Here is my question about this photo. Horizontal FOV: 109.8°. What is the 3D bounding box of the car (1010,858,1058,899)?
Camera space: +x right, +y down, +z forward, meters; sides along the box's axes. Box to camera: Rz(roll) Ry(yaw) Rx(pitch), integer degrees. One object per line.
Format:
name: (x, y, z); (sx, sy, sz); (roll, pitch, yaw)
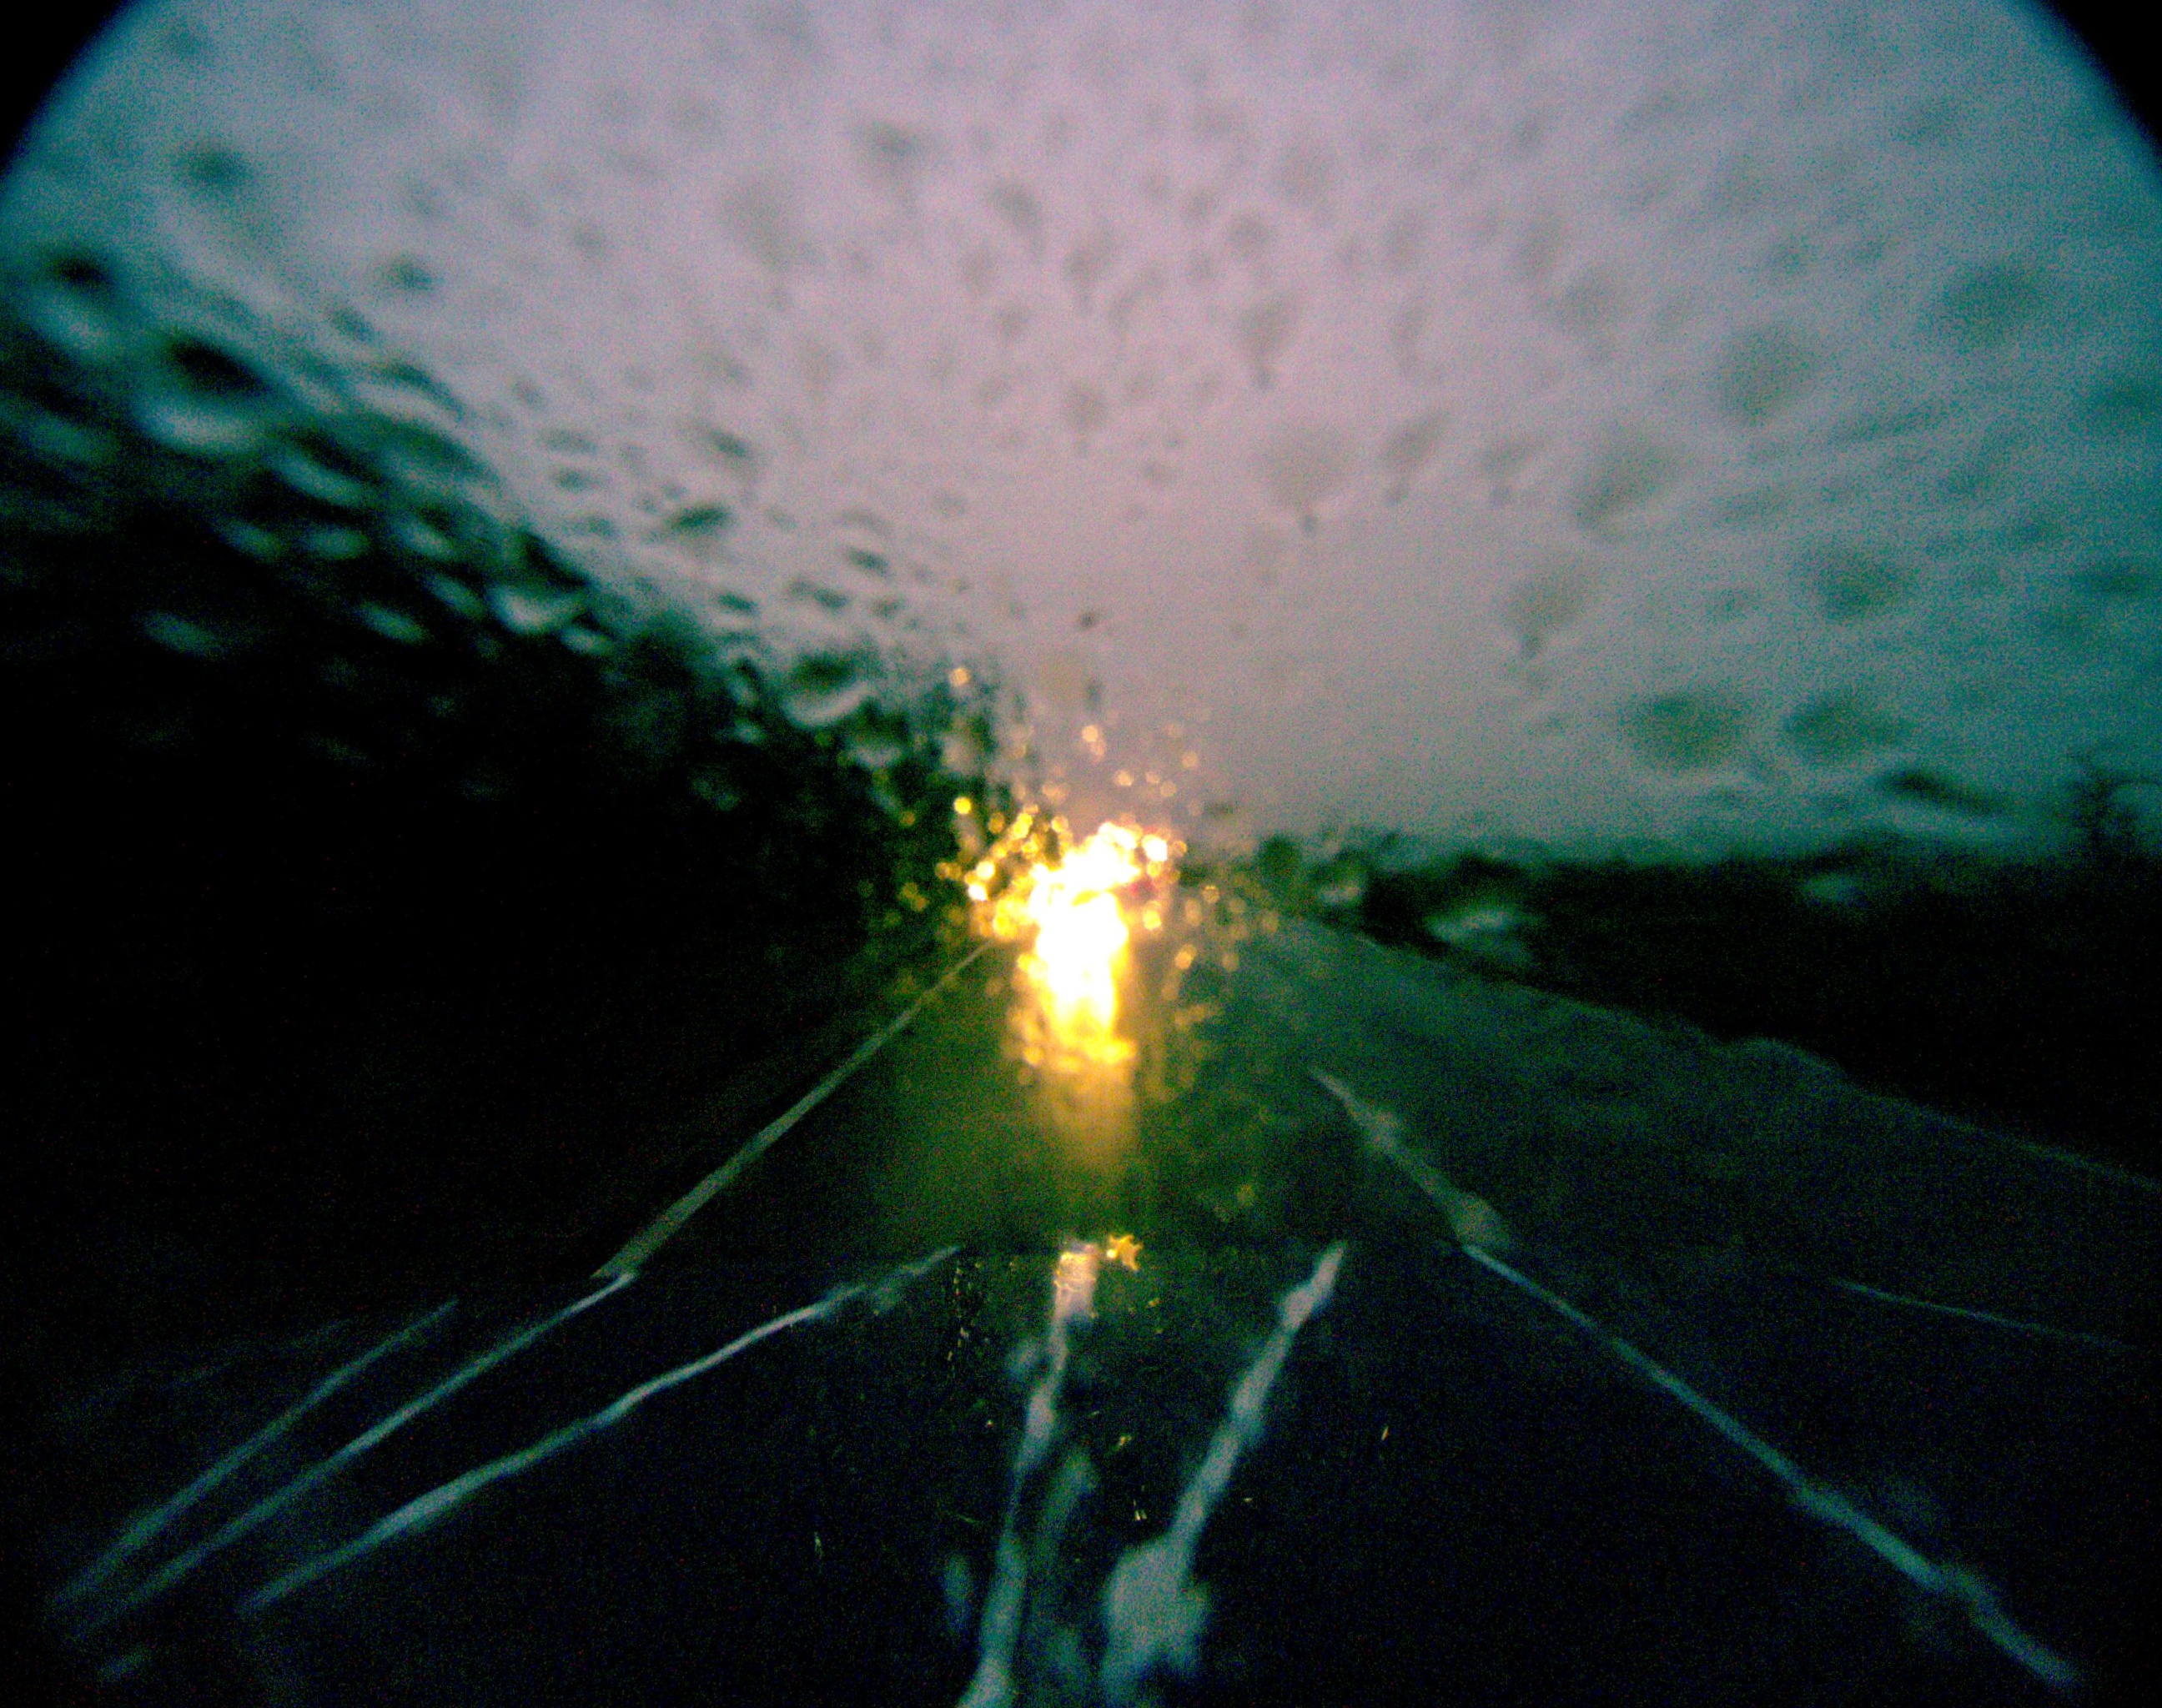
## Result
car: (-2.146, 1.095, 36.015); (1.933, 1.740, 4.000); (-2, 1, 1)

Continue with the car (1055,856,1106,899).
car: (-0.018, 0.873, 30.175); (1.844, 1.484, 3.955); (-2, 1, 0)

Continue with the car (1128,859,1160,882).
car: (4.574, 1.176, 55.984); (1.998, 1.455, 4.351); (3, 1, 1)

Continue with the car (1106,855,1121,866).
car: (4.730, 0.936, 110.847); (1.998, 1.364, 4.397); (-2, 1, 1)
